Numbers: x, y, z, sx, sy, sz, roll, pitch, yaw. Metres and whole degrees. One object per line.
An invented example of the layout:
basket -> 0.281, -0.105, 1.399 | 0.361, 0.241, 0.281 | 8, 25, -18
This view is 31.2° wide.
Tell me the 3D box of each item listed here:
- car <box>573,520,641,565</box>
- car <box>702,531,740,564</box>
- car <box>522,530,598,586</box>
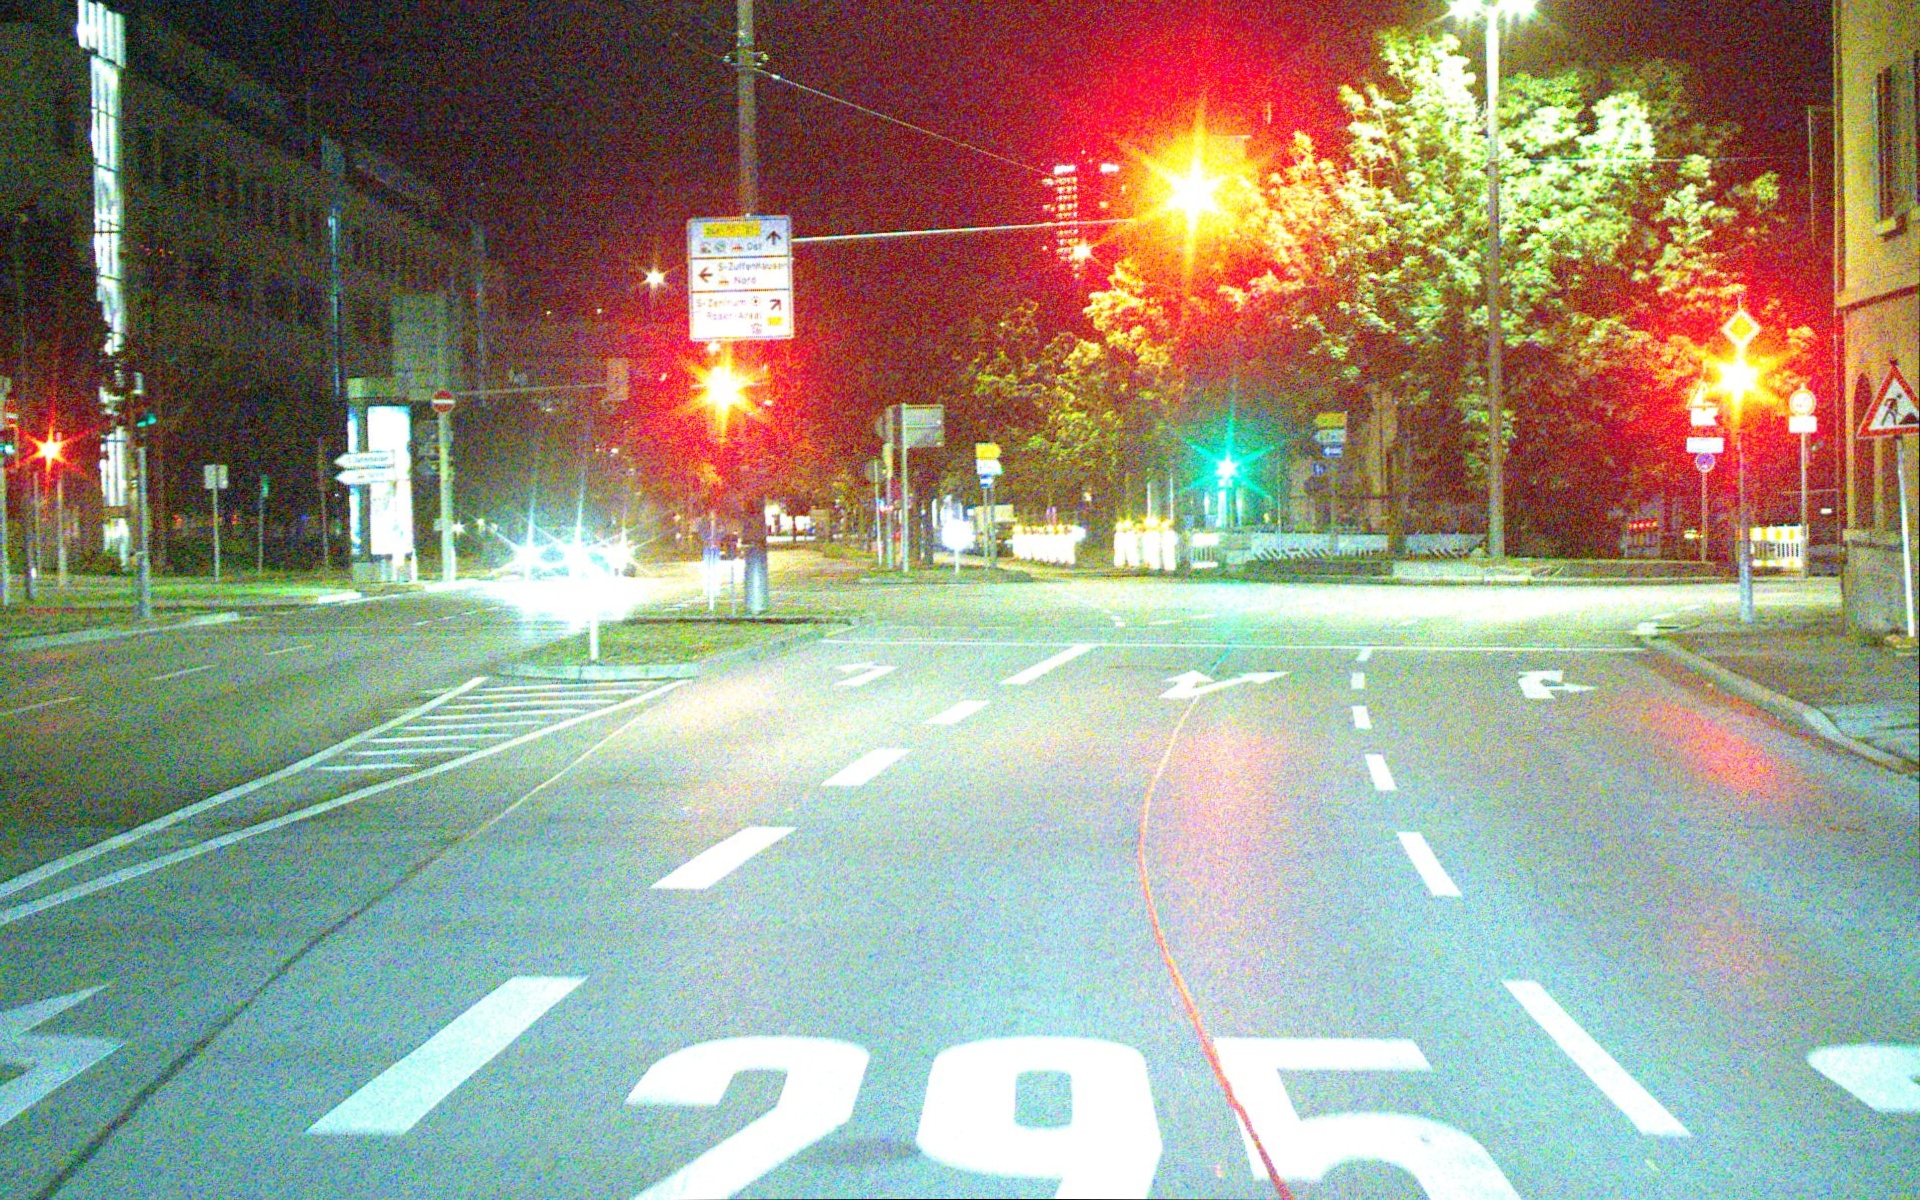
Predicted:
car -> -10.730, -1.749, 104.736 | 1.758, 1.317, 3.548 | 0, 1, -1
car -> -12.489, -2.752, 179.571 | 1.758, 1.722, 3.548 | 0, 1, -1
car -> -10.950, -1.163, 94.277 | 1.615, 1.509, 4.000 | 0, 1, 0
